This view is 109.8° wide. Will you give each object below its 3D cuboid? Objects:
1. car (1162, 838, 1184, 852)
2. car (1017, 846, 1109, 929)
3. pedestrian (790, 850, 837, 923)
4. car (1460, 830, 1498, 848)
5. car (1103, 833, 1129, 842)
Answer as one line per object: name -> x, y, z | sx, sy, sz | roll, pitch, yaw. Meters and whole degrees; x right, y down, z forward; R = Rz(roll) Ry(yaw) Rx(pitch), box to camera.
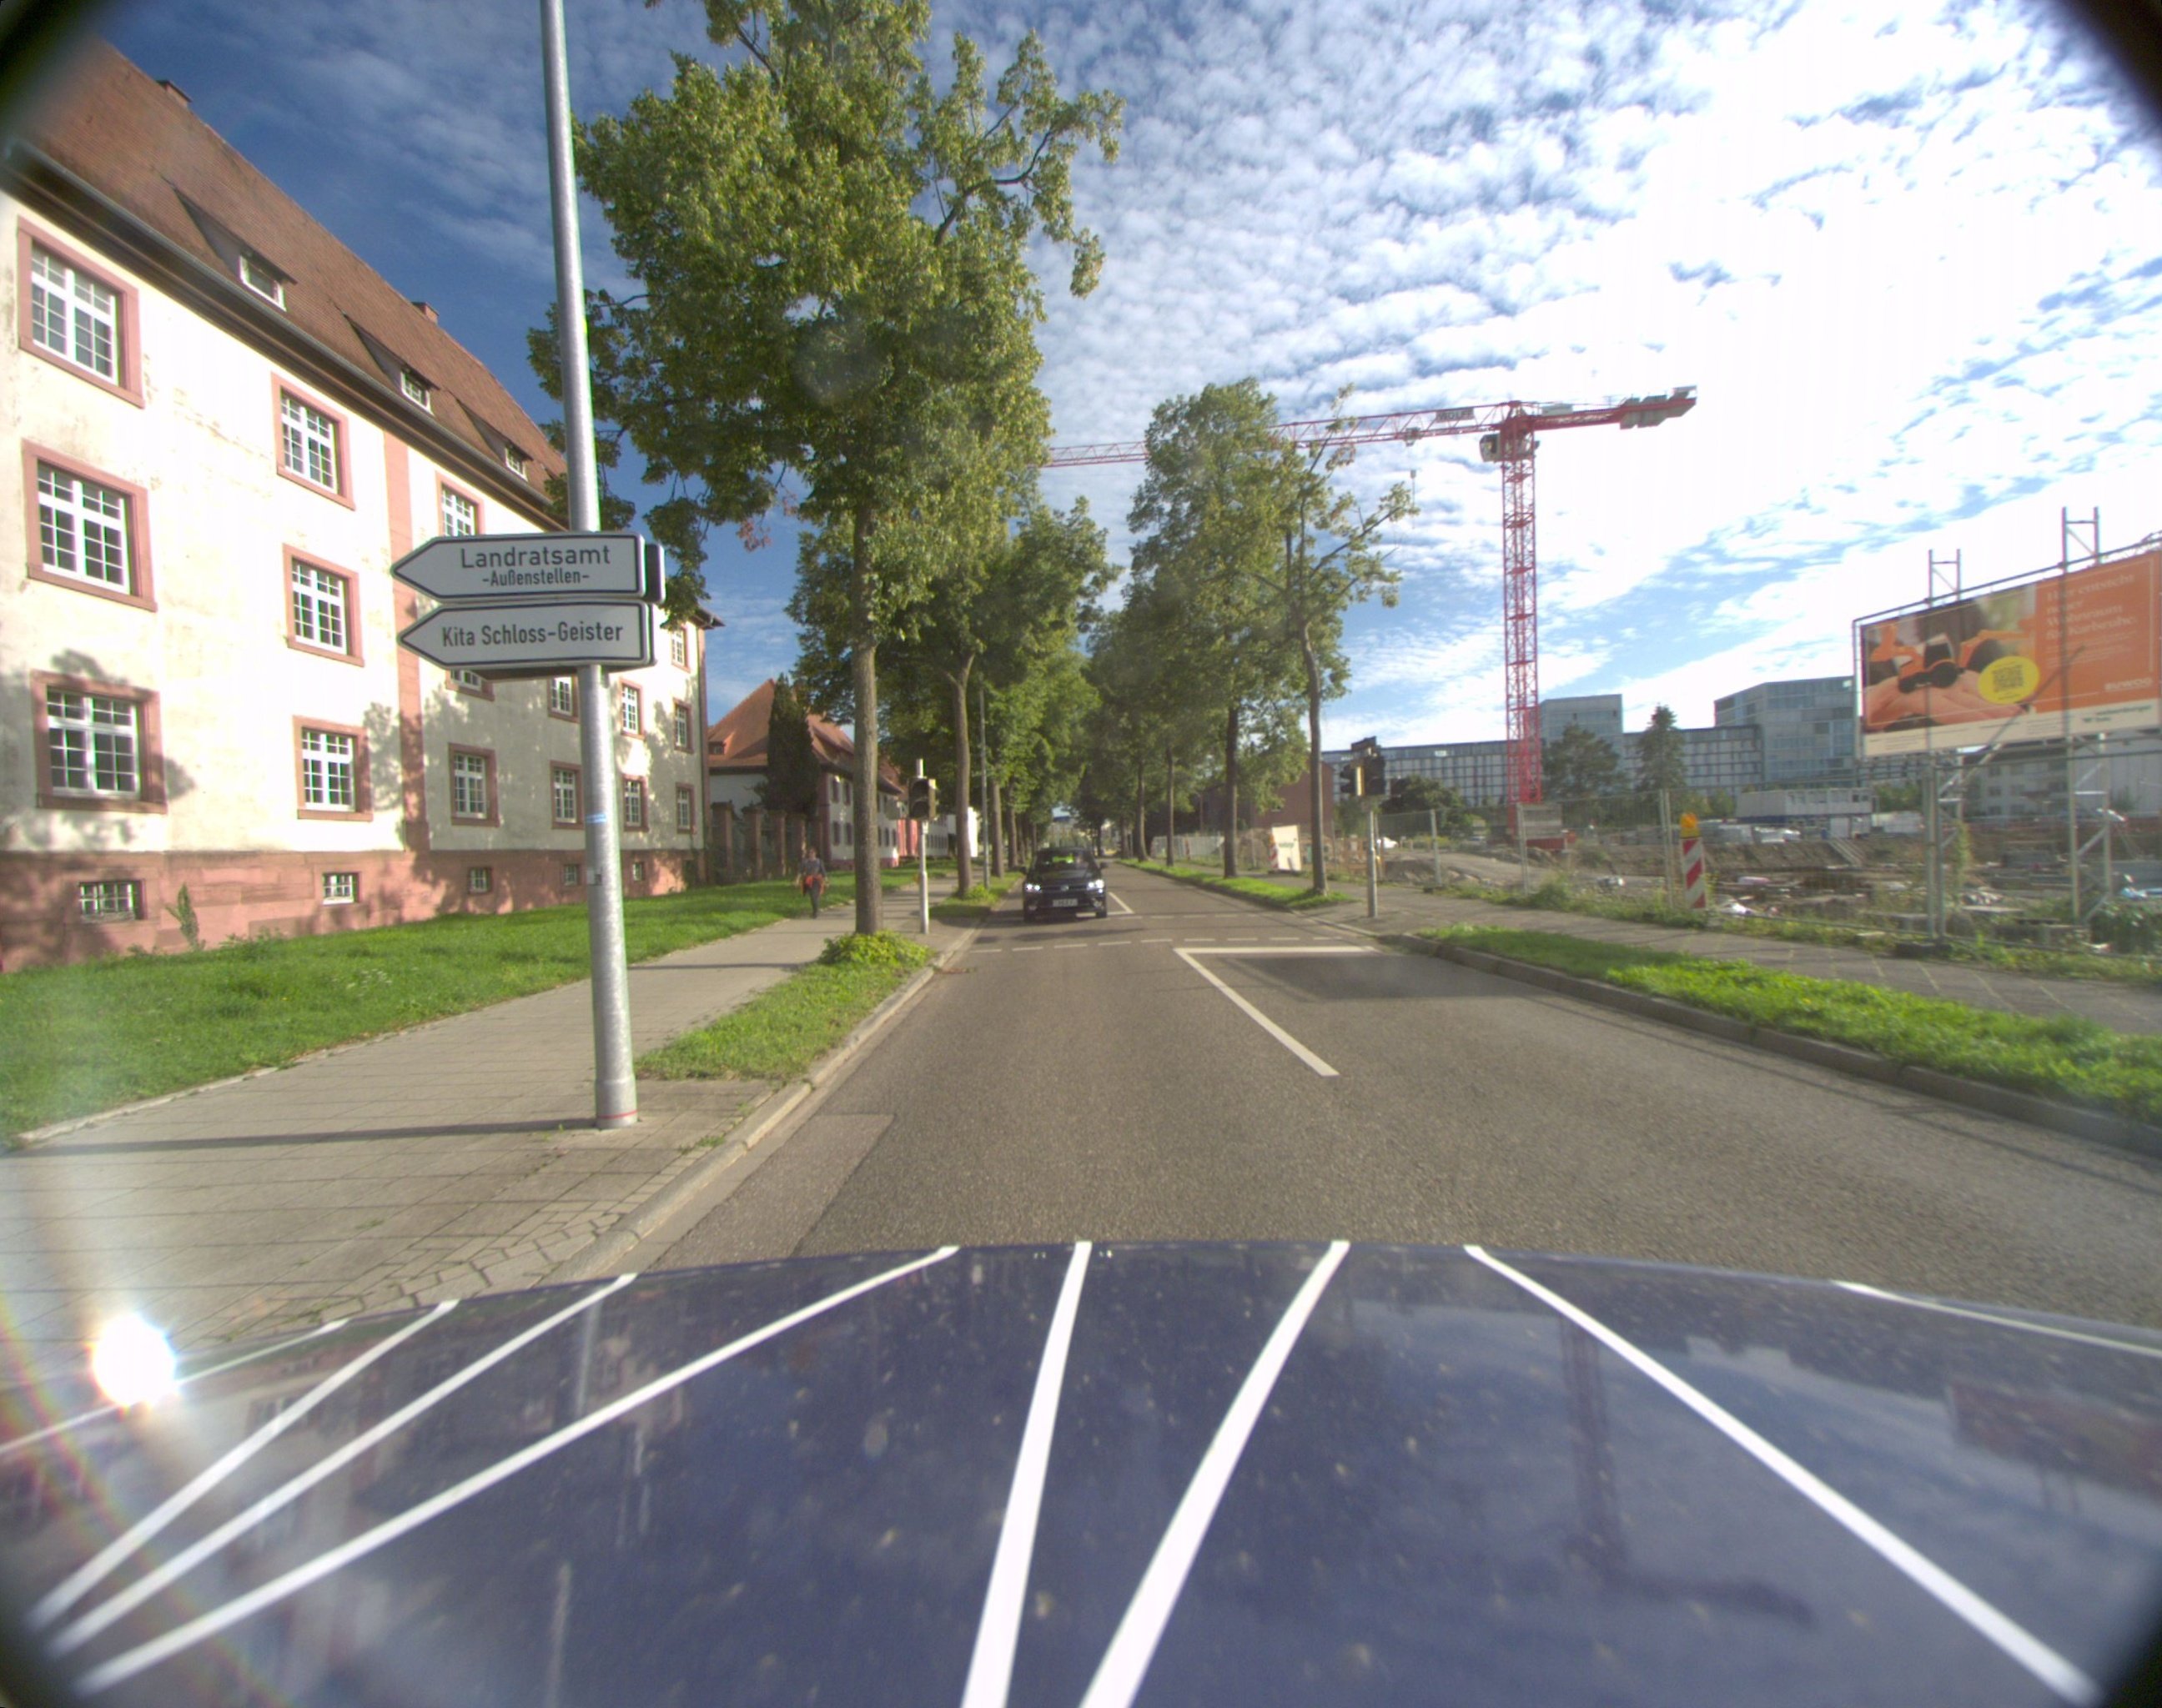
car -> 10.649, -1.089, 87.801 | 1.998, 1.421, 4.506 | -1, 2, 0
car -> -0.382, 0.679, 17.886 | 1.821, 1.648, 4.242 | -3, 1, 0
pedestrian -> -6.042, 0.718, 17.191 | 0.816, 1.581, 0.769 | 1, 2, -3
car -> 45.326, -1.727, 86.654 | 1.818, 1.797, 3.980 | -3, 3, -7
car -> 8.512, -4.082, 186.911 | 6.235, 1.856, 2.482 | -1, 2, 45
